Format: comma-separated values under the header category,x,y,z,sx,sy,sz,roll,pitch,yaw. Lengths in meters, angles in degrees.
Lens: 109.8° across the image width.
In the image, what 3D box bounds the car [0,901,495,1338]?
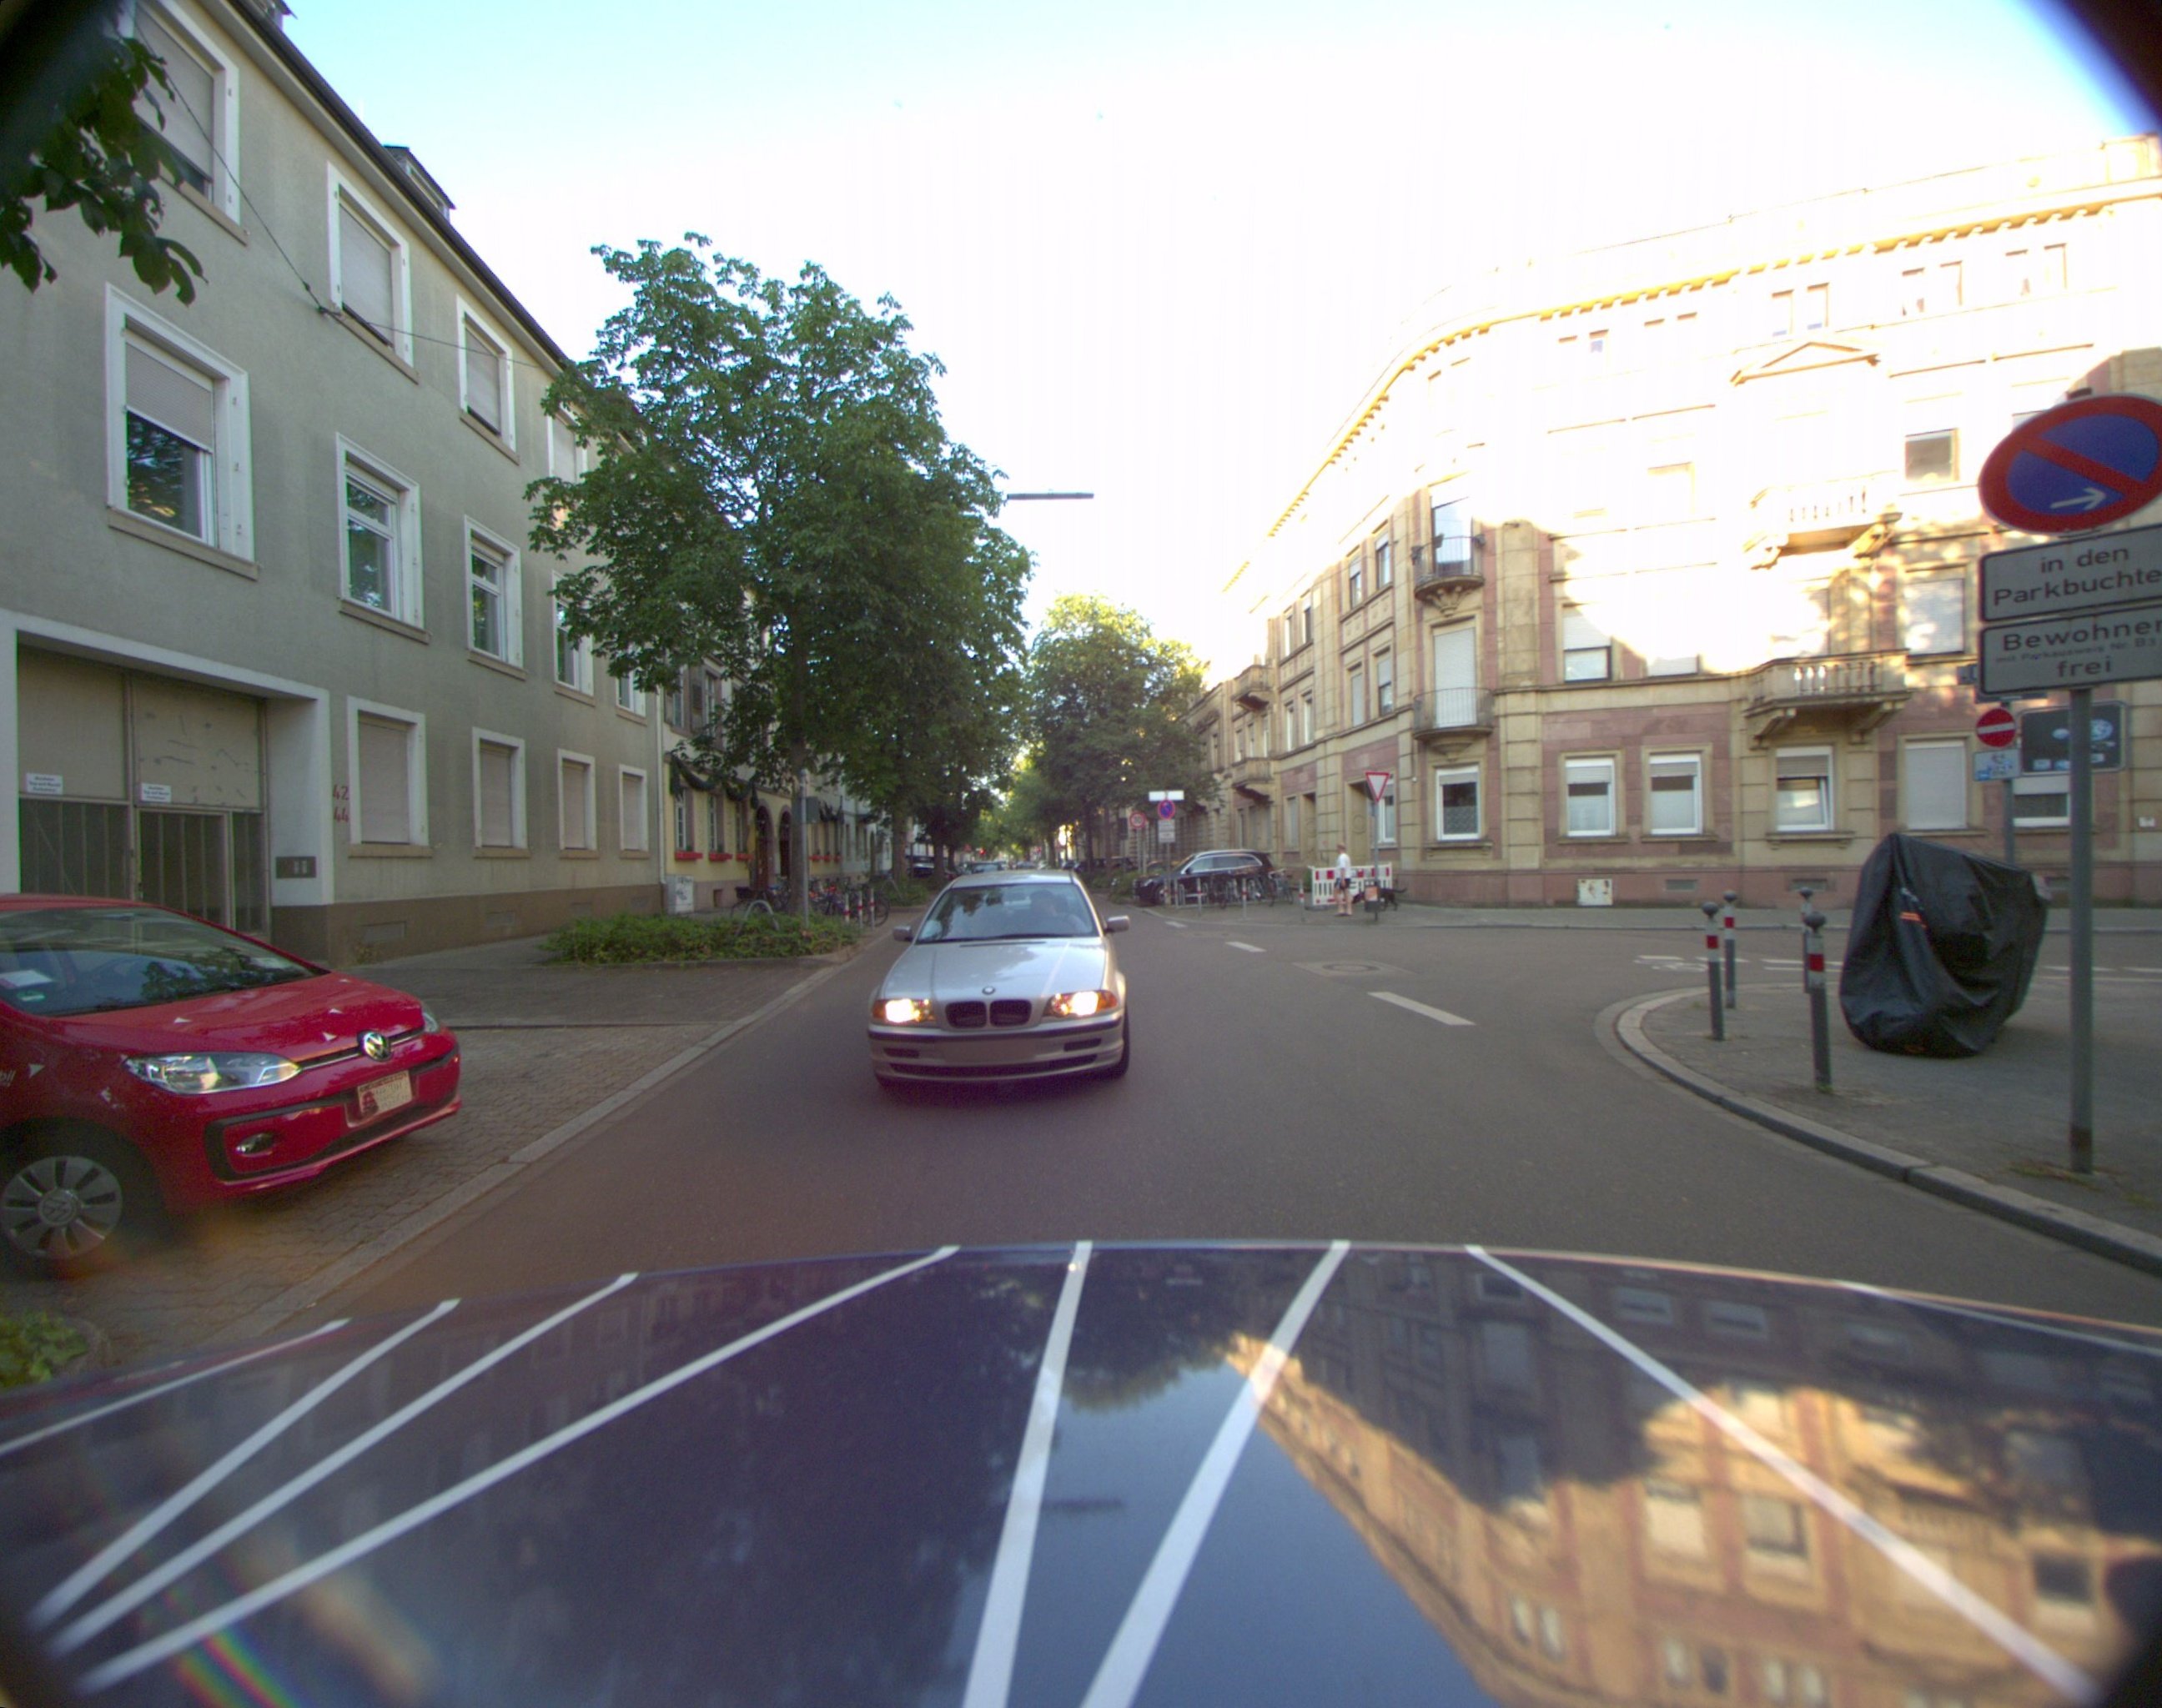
category,x,y,z,sx,sy,sz,roll,pitch,yaw
car,-5.170,1.039,3.426,3.621,1.468,1.663,-1,0,-7

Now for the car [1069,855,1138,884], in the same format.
category,x,y,z,sx,sy,sz,roll,pitch,yaw
car,1.409,0.957,48.385,4.245,1.749,1.741,-1,0,-4

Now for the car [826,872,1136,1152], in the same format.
category,x,y,z,sx,sy,sz,roll,pitch,yaw
car,-0.531,0.939,6.479,1.711,1.433,4.436,-1,0,1

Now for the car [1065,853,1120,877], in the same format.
category,x,y,z,sx,sy,sz,roll,pitch,yaw
car,0.864,0.867,60.855,4.245,1.749,1.741,-1,0,-4

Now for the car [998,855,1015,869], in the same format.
category,x,y,z,sx,sy,sz,roll,pitch,yaw
car,-8.632,0.888,88.069,1.806,1.543,3.998,-1,0,-4

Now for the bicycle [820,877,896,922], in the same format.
category,x,y,z,sx,sy,sz,roll,pitch,yaw
bicycle,-6.372,1.282,21.795,2.029,1.220,0.535,-1,0,-11

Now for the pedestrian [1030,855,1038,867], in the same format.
category,x,y,z,sx,sy,sz,roll,pitch,yaw
pedestrian,-8.224,1.218,133.894,1.254,2.002,1.123,-1,1,-9

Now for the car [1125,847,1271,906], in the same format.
category,x,y,z,sx,sy,sz,roll,pitch,yaw
car,3.722,0.712,24.656,4.423,1.771,1.742,-1,0,-2

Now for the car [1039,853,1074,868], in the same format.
category,x,y,z,sx,sy,sz,roll,pitch,yaw
car,-2.985,0.819,92.541,4.245,1.749,1.741,-1,0,-4

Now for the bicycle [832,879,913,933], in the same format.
category,x,y,z,sx,sy,sz,roll,pitch,yaw
bicycle,-5.041,1.253,18.403,1.849,1.220,0.535,-1,0,-16

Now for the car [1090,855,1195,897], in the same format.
category,x,y,z,sx,sy,sz,roll,pitch,yaw
car,2.528,0.908,32.092,4.243,1.668,1.742,-1,0,-1

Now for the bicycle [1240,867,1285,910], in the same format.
category,x,y,z,sx,sy,sz,roll,pitch,yaw
bicycle,5.172,0.959,21.774,0.562,1.144,2.038,-1,0,-8

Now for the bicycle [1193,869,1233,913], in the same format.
category,x,y,z,sx,sy,sz,roll,pitch,yaw
bicycle,3.740,1.025,21.664,0.562,1.144,2.038,-1,0,-6

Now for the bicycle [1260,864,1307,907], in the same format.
category,x,y,z,sx,sy,sz,roll,pitch,yaw
bicycle,5.791,0.879,21.823,0.562,1.144,2.038,-1,0,-8

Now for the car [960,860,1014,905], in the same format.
category,x,y,z,sx,sy,sz,roll,pitch,yaw
car,-3.560,1.054,29.478,1.806,1.543,3.998,-1,0,-4

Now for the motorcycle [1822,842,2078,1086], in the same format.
category,x,y,z,sx,sy,sz,roll,pitch,yaw
motorcycle,6.491,0.678,5.641,2.286,1.496,0.816,-1,1,-30

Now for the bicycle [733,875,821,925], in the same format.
category,x,y,z,sx,sy,sz,roll,pitch,yaw
bicycle,-7.818,1.177,19.603,2.029,1.220,0.535,-1,0,-13

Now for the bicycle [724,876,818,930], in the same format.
category,x,y,z,sx,sy,sz,roll,pitch,yaw
bicycle,-7.498,1.178,18.457,2.030,1.220,0.535,-1,0,-16

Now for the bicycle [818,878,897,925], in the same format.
category,x,y,z,sx,sy,sz,roll,pitch,yaw
bicycle,-6.131,1.283,20.924,2.029,1.220,0.535,-1,0,-11

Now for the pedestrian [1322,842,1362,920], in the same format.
category,x,y,z,sx,sy,sz,roll,pitch,yaw
pedestrian,6.148,0.622,17.903,0.574,1.797,0.650,-2,1,-24

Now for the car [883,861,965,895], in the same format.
category,x,y,z,sx,sy,sz,roll,pitch,yaw
car,-8.556,1.272,41.675,4.245,1.729,1.741,-1,0,-6

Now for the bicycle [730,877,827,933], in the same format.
category,x,y,z,sx,sy,sz,roll,pitch,yaw
bicycle,-7.038,1.168,17.754,2.030,1.220,0.535,-1,0,-16

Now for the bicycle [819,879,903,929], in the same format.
category,x,y,z,sx,sy,sz,roll,pitch,yaw
bicycle,-5.664,1.279,19.643,2.029,1.220,0.535,-1,0,-11

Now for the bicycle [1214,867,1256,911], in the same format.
category,x,y,z,sx,sy,sz,roll,pitch,yaw
bicycle,4.379,0.981,21.732,0.562,1.144,2.038,-1,0,-6
